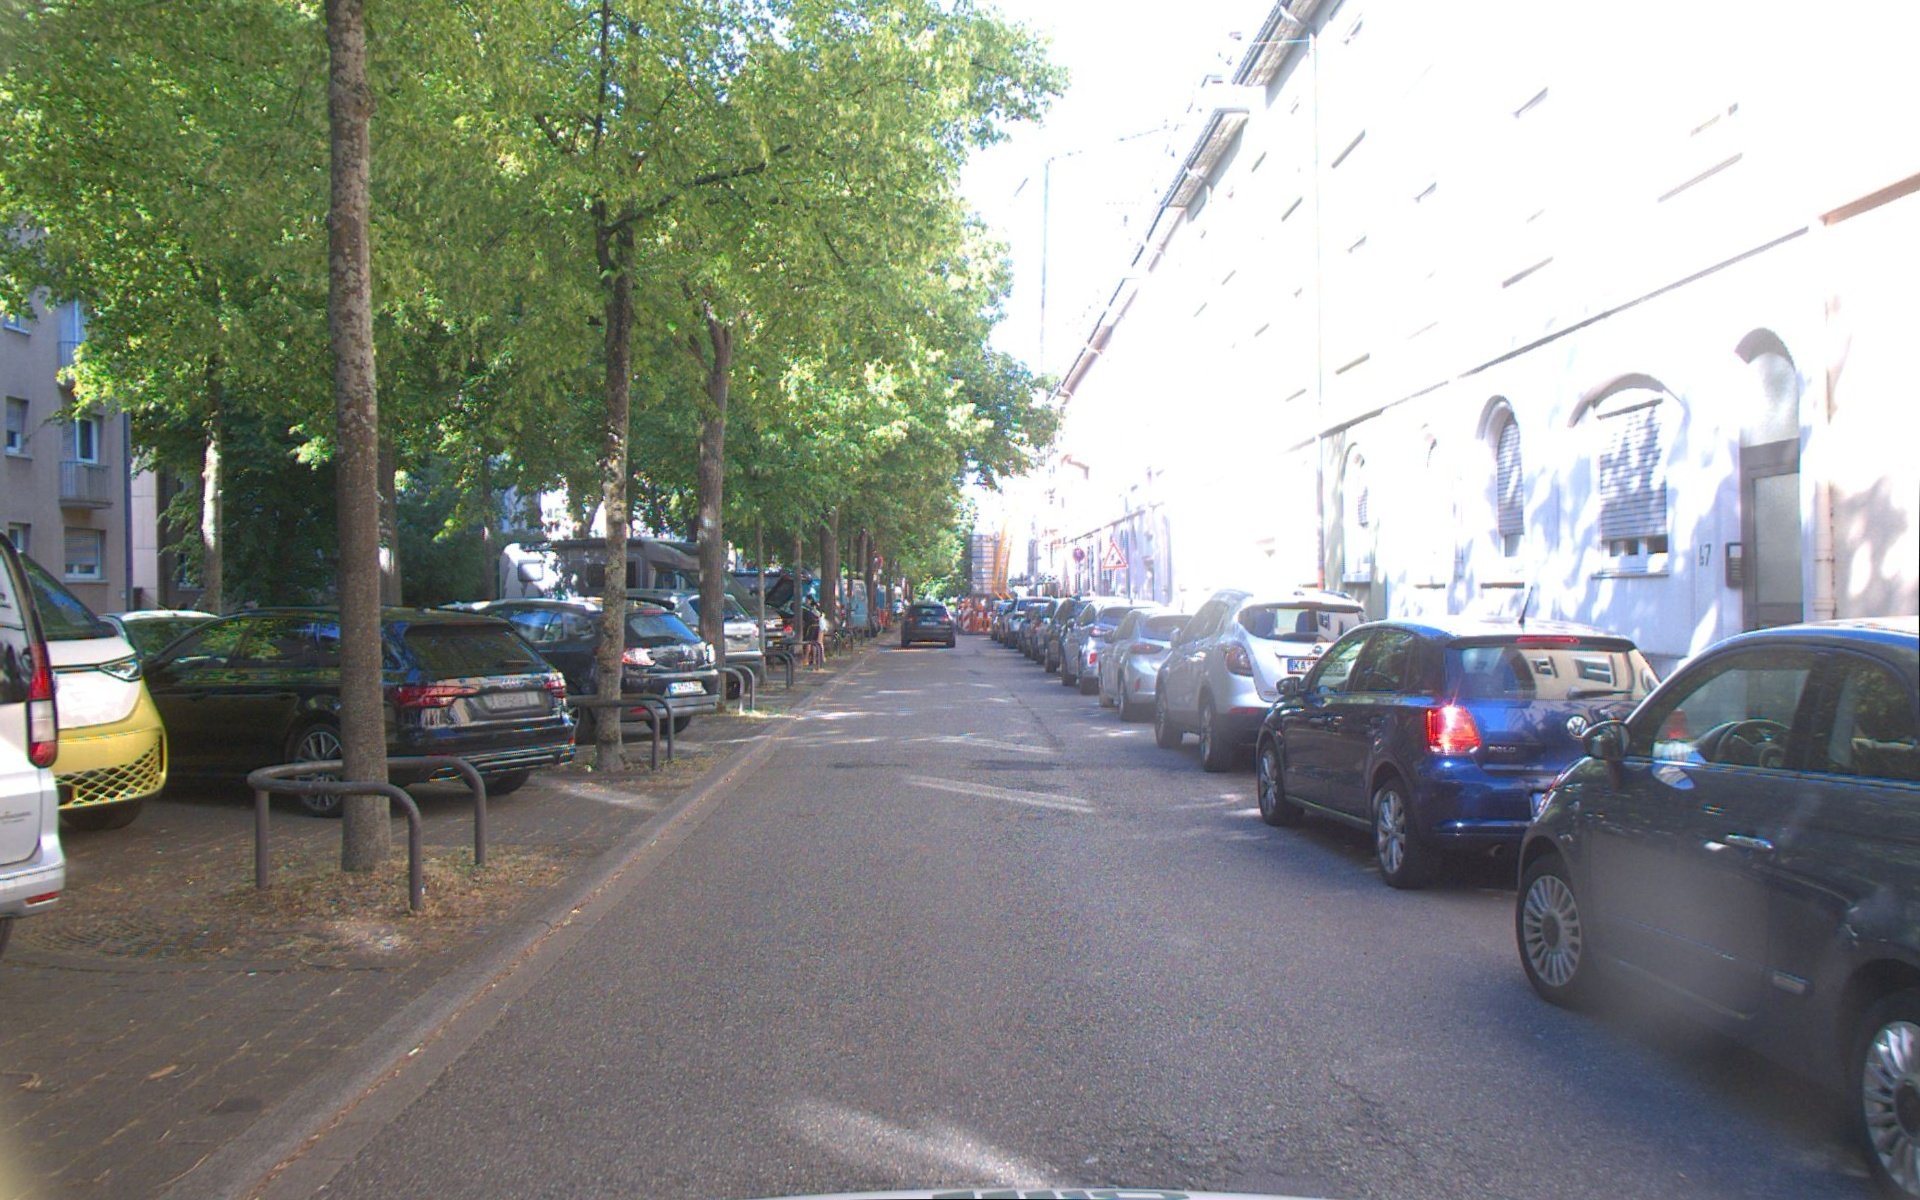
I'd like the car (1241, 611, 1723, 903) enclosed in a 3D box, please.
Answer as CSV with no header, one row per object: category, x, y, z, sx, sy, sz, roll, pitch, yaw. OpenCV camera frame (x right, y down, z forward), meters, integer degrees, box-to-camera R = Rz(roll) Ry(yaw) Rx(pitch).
car,2.991,0.806,10.336,1.519,1.418,3.857,-1,0,-5

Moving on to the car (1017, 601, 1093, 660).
car,2.459,0.761,43.699,1.598,1.437,4.087,-1,0,-2

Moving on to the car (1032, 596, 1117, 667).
car,2.646,0.710,38.897,1.598,1.561,3.591,-1,0,-2

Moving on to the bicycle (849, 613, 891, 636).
bicycle,-4.033,1.088,73.848,1.858,1.024,0.430,-1,0,23

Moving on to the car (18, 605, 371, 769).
car,-7.927,0.831,17.053,3.560,1.481,1.811,-1,0,36

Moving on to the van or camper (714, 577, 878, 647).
van or camper,-5.858,0.430,59.111,5.386,2.315,2.220,-2,0,23

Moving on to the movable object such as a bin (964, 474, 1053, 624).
movable object such as a bin,2.288,-2.315,77.489,3.415,6.878,2.363,-1,-1,31

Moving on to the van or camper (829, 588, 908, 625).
van or camper,-6.563,0.469,118.127,5.235,2.518,2.289,-1,0,31

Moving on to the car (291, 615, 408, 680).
car,-15.636,1.187,42.546,1.630,1.525,3.769,-1,0,-1

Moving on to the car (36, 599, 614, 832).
car,-4.893,0.778,12.568,4.392,1.481,1.784,-1,0,31

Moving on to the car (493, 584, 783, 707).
car,-4.837,0.663,24.776,4.054,1.709,1.757,-1,0,28

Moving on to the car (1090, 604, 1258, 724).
car,2.859,0.812,22.886,1.687,1.457,4.157,-1,0,-1

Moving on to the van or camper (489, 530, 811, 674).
van or camper,-6.983,0.091,36.989,7.084,2.981,2.312,-1,0,26

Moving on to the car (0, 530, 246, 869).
car,-7.003,0.608,10.697,4.503,1.864,2.016,-2,-1,28

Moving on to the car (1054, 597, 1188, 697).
car,2.693,0.747,28.499,1.688,1.555,4.155,-1,0,-3

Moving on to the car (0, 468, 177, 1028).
car,-5.403,0.522,6.224,4.418,1.897,2.080,-1,0,24

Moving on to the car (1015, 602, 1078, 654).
car,2.500,0.800,48.700,1.585,1.437,3.787,-1,0,-1

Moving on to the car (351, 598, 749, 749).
car,-4.548,0.759,18.141,4.329,1.487,1.712,-1,-1,32

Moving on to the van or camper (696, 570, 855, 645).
van or camper,-7.073,0.294,63.336,5.756,2.683,2.252,-1,0,29

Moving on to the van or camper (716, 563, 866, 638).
van or camper,-7.833,0.030,76.429,6.527,3.297,2.492,-1,0,28

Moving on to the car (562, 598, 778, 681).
car,-5.718,0.780,32.515,3.910,1.533,1.755,-1,0,28

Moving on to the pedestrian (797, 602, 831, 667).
pedestrian,-3.426,0.805,38.732,0.602,1.481,0.519,-1,0,22

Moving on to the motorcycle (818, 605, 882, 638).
motorcycle,-4.483,0.857,67.323,2.495,1.280,0.763,-1,0,7

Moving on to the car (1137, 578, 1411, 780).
car,2.942,0.680,16.397,1.688,1.715,4.155,-1,0,-3

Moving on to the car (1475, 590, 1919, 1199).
car,3.095,0.738,5.306,1.589,1.524,3.593,-1,0,-3

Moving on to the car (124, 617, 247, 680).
car,-20.528,1.262,43.972,1.592,1.507,3.611,-2,0,-1

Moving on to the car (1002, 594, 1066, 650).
car,2.379,0.681,54.120,1.779,1.703,4.672,-1,0,-1

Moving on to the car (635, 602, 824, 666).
car,-5.509,0.803,39.465,4.230,1.449,1.674,-1,0,26

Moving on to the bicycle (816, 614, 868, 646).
bicycle,-3.947,1.002,55.465,1.702,1.023,0.506,-1,0,-32

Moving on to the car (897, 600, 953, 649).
car,-1.171,0.780,54.543,1.761,1.530,3.584,-2,0,-2

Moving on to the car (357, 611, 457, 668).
car,-15.933,1.099,47.830,1.630,1.525,3.769,-1,0,-1

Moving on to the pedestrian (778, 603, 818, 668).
pedestrian,-3.740,0.813,38.197,0.695,1.481,0.596,-1,0,22

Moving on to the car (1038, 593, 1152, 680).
car,2.689,0.695,33.769,1.688,1.624,4.154,-1,0,-4

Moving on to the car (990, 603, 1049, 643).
car,2.268,0.856,63.868,1.953,1.434,4.499,0,0,-2

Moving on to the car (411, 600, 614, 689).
car,-8.307,0.816,30.635,3.469,1.533,1.753,-1,0,33

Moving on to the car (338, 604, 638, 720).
car,-6.572,0.802,22.958,3.956,1.427,1.819,1,0,32

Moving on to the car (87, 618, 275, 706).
car,-15.422,1.184,33.015,1.728,1.534,4.308,-2,0,-1

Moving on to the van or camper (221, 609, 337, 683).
van or camper,-15.641,1.028,38.104,1.564,1.582,2.697,-2,0,-1
